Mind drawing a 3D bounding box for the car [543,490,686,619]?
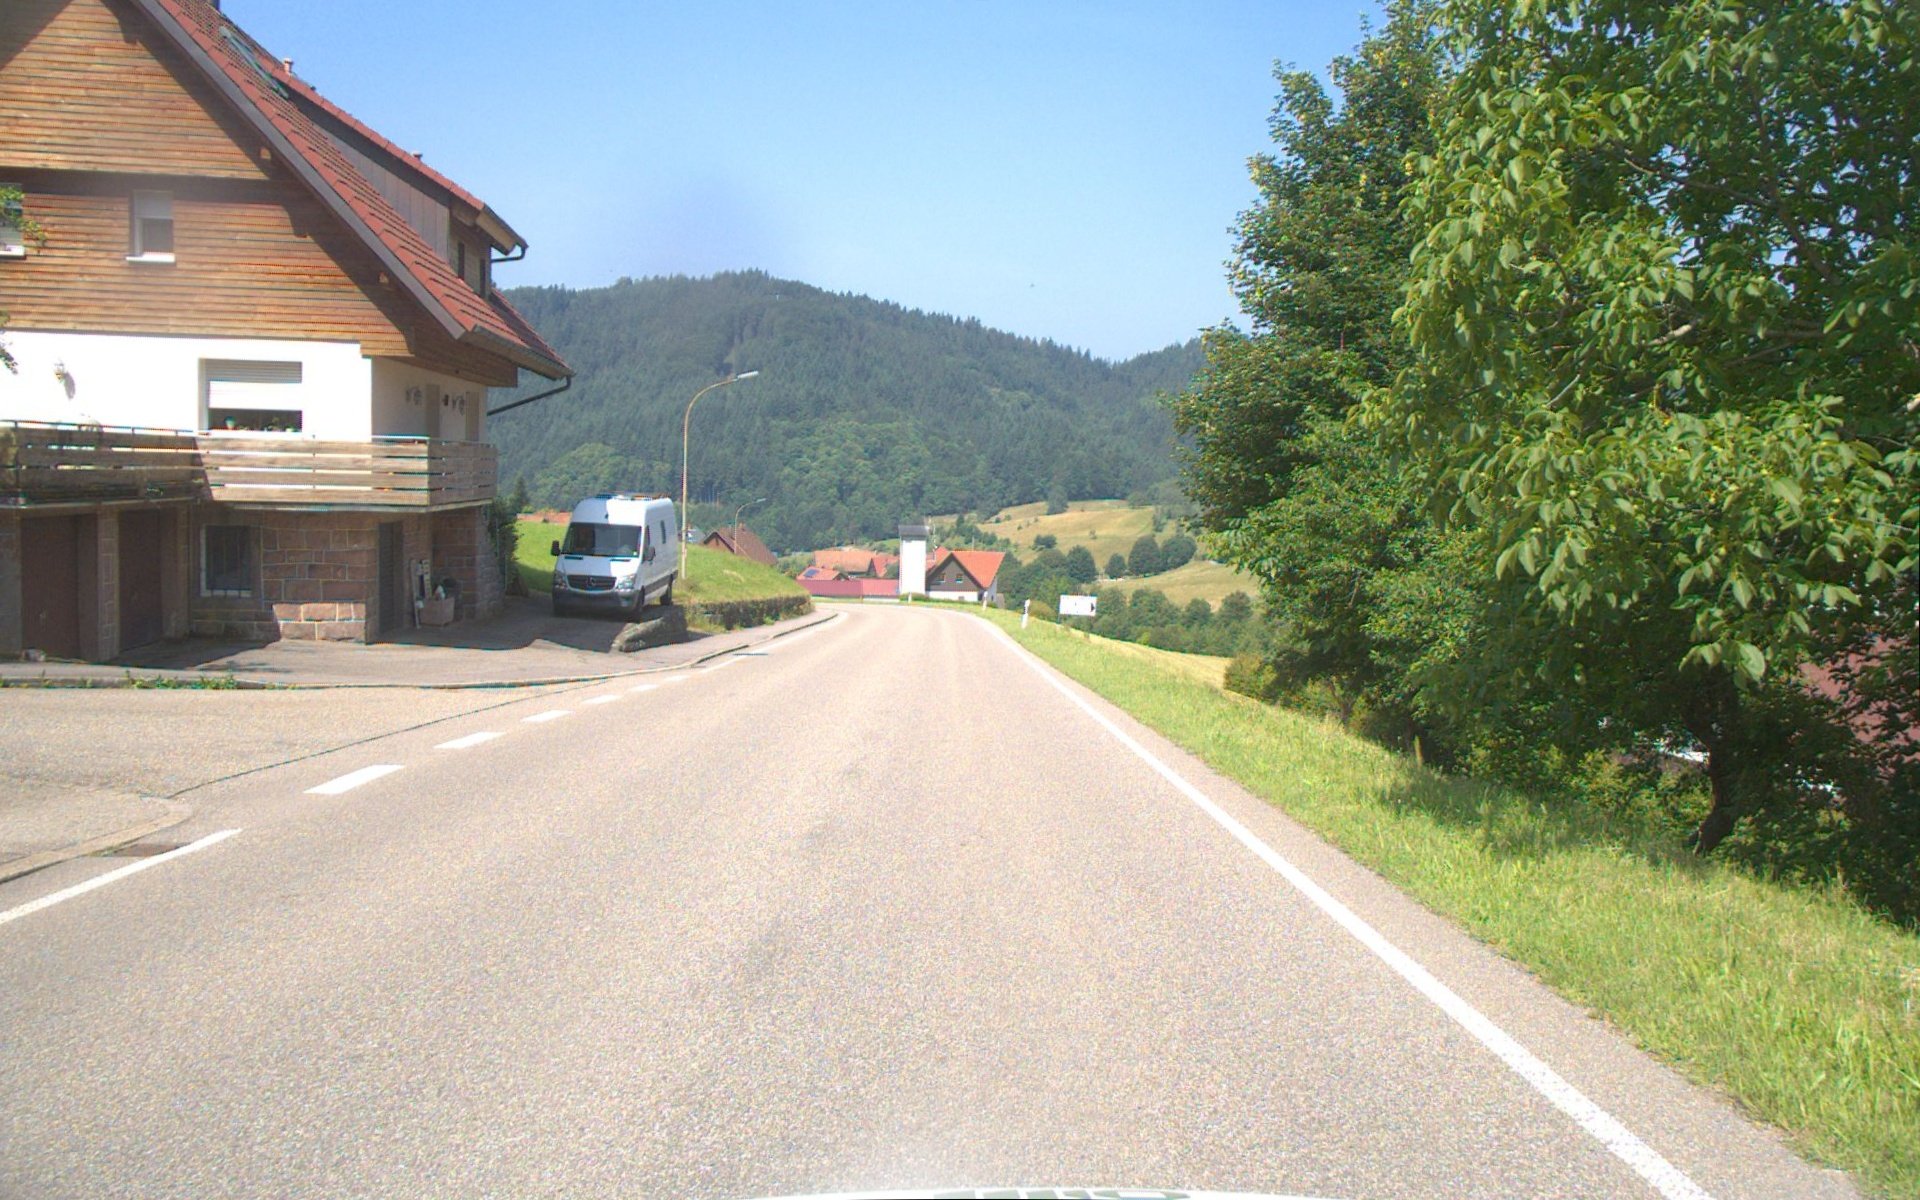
[{"bbox_3d":[-8.030,-1.213,39.146,2.026,2.734,7.175,1,4,-2],"label":"car"}]
